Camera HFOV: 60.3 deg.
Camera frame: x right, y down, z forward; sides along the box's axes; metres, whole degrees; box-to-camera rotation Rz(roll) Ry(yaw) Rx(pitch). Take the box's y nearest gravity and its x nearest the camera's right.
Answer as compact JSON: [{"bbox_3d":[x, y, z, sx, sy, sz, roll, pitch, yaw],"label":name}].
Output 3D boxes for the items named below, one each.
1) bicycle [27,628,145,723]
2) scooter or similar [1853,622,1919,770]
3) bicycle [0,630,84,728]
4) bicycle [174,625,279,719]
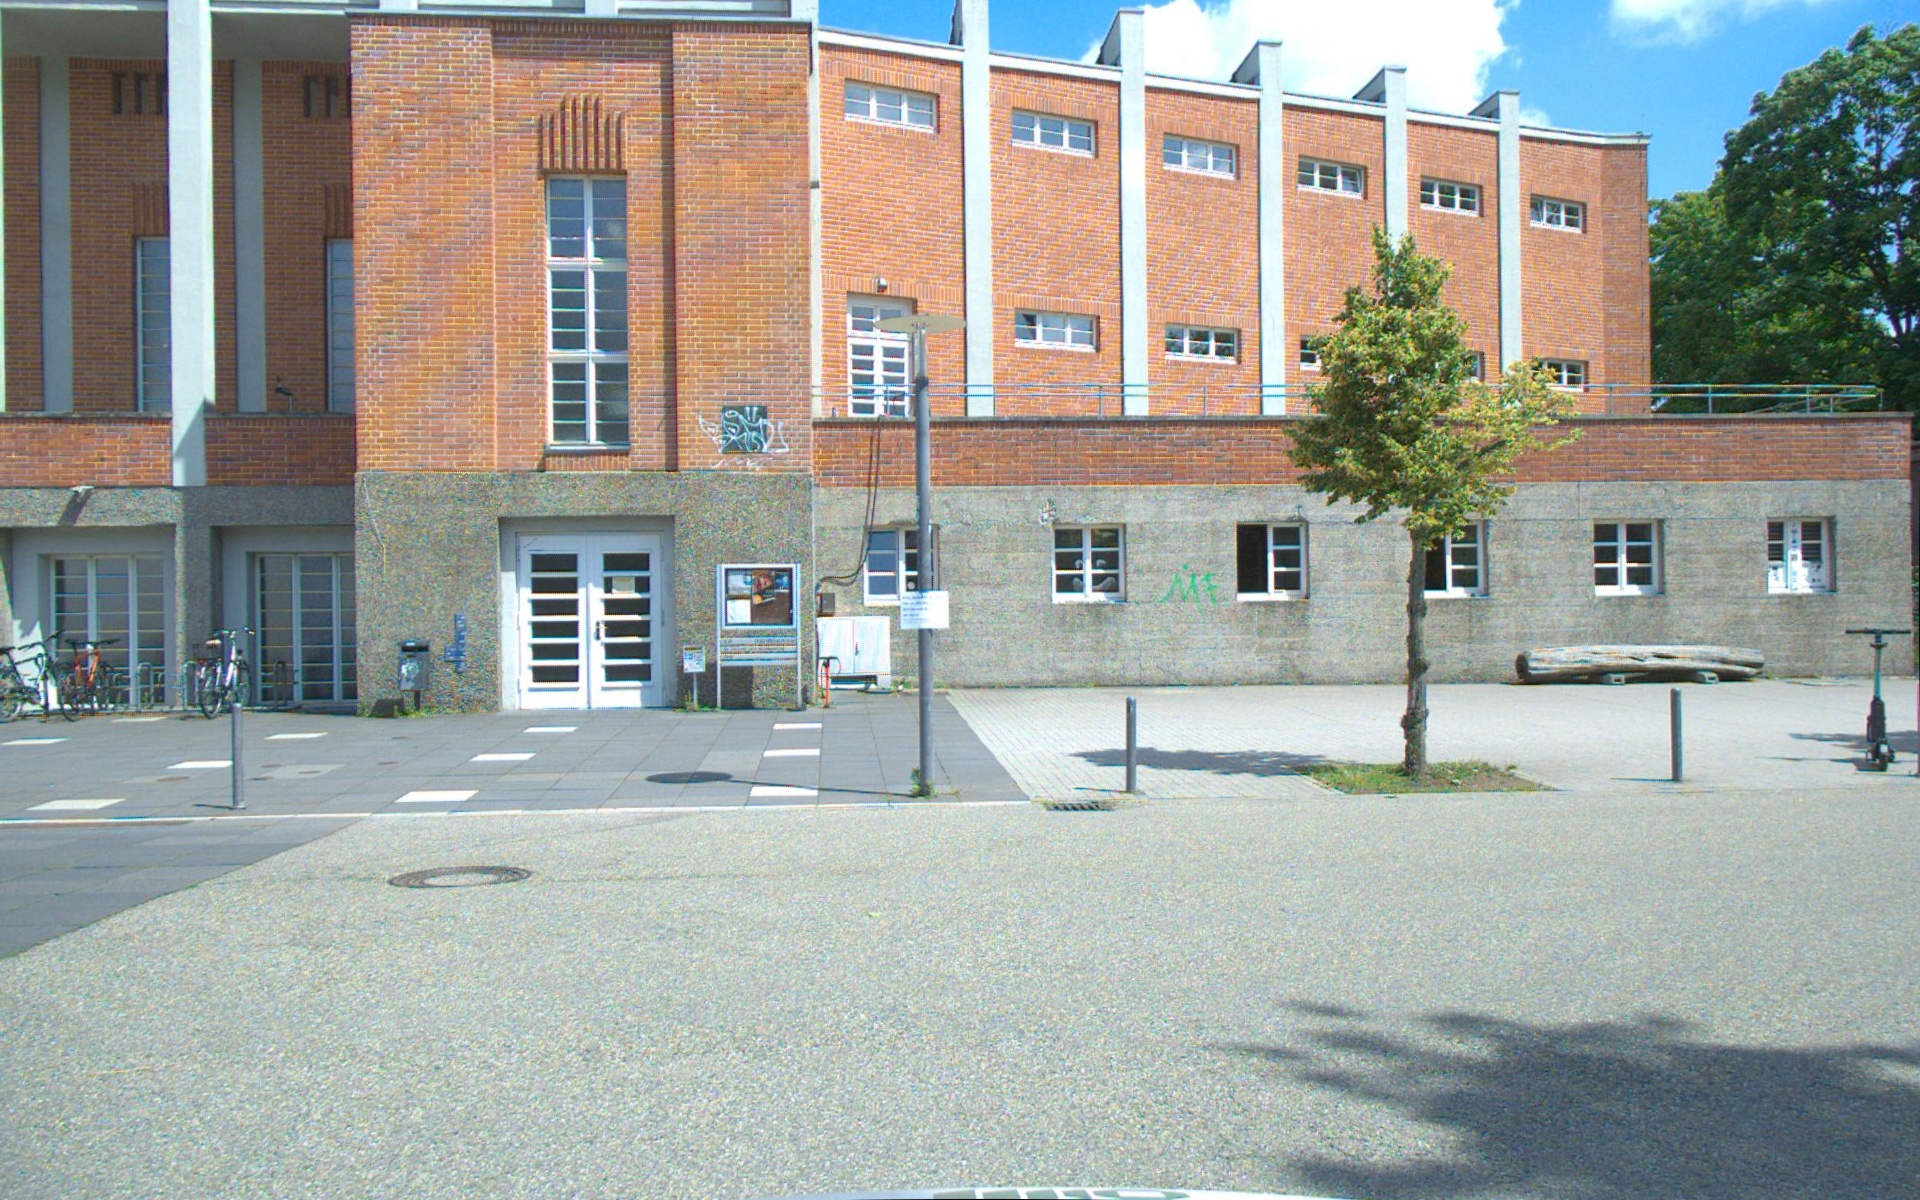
[{"bbox_3d":[-11.516,0.971,21.862,0.579,1.145,2.027,-1,0,-3],"label":"bicycle"},{"bbox_3d":[8.549,0.842,15.055,0.557,1.246,1.575,0,0,22],"label":"scooter or similar"},{"bbox_3d":[-12.318,1.010,21.818,0.428,1.145,2.028,-1,1,0],"label":"bicycle"},{"bbox_3d":[-9.707,0.932,21.956,0.652,1.145,2.026,-1,0,-5],"label":"bicycle"}]
